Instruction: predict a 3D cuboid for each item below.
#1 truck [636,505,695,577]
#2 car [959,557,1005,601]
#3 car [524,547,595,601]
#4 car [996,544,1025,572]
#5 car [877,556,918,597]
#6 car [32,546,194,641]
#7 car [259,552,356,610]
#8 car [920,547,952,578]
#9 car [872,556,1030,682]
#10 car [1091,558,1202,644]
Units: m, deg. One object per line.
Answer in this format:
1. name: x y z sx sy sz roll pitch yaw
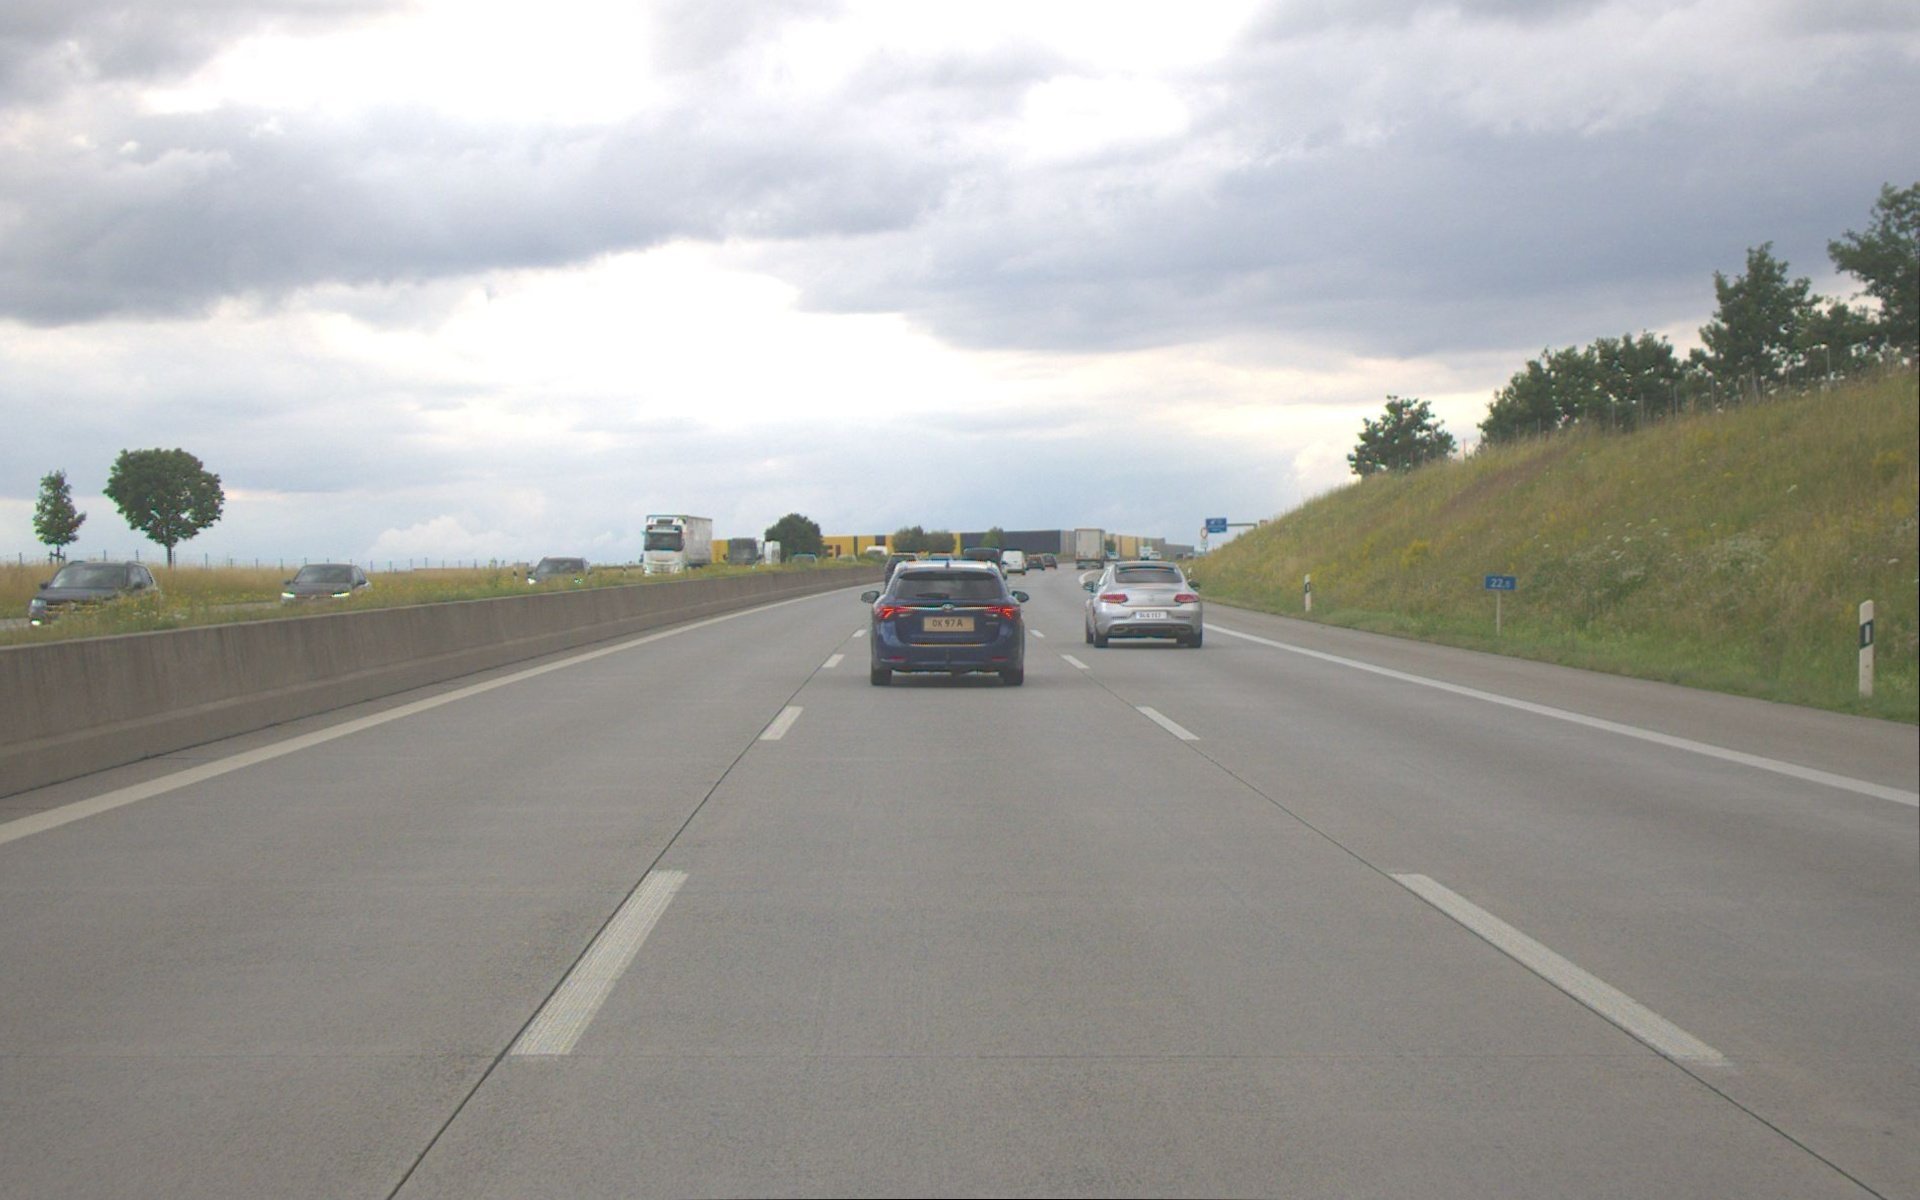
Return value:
1. truck: -17.845 -3.556 208.605 2.841 4.241 6.091 0 0 1
2. car: 1.008 -0.981 161.271 1.993 2.007 4.000 0 0 -2
3. car: -12.125 -0.797 104.233 1.689 1.604 4.000 0 1 0
4. car: 3.780 -3.118 256.637 1.994 2.007 4.000 0 0 3
5. car: -3.167 -1.188 175.578 2.046 2.007 4.000 0 0 0
6. car: -15.482 -0.146 63.019 1.993 1.678 4.063 0 1 0
7. car: -16.234 -0.487 85.665 1.661 1.394 4.000 0 1 0
8. car: -1.613 -2.529 231.374 1.993 2.007 4.000 0 0 -2
9. car: -0.083 0.203 40.637 1.774 1.408 4.000 0 0 1
10. car: 3.112 0.003 57.884 1.789 1.399 4.221 0 0 2
